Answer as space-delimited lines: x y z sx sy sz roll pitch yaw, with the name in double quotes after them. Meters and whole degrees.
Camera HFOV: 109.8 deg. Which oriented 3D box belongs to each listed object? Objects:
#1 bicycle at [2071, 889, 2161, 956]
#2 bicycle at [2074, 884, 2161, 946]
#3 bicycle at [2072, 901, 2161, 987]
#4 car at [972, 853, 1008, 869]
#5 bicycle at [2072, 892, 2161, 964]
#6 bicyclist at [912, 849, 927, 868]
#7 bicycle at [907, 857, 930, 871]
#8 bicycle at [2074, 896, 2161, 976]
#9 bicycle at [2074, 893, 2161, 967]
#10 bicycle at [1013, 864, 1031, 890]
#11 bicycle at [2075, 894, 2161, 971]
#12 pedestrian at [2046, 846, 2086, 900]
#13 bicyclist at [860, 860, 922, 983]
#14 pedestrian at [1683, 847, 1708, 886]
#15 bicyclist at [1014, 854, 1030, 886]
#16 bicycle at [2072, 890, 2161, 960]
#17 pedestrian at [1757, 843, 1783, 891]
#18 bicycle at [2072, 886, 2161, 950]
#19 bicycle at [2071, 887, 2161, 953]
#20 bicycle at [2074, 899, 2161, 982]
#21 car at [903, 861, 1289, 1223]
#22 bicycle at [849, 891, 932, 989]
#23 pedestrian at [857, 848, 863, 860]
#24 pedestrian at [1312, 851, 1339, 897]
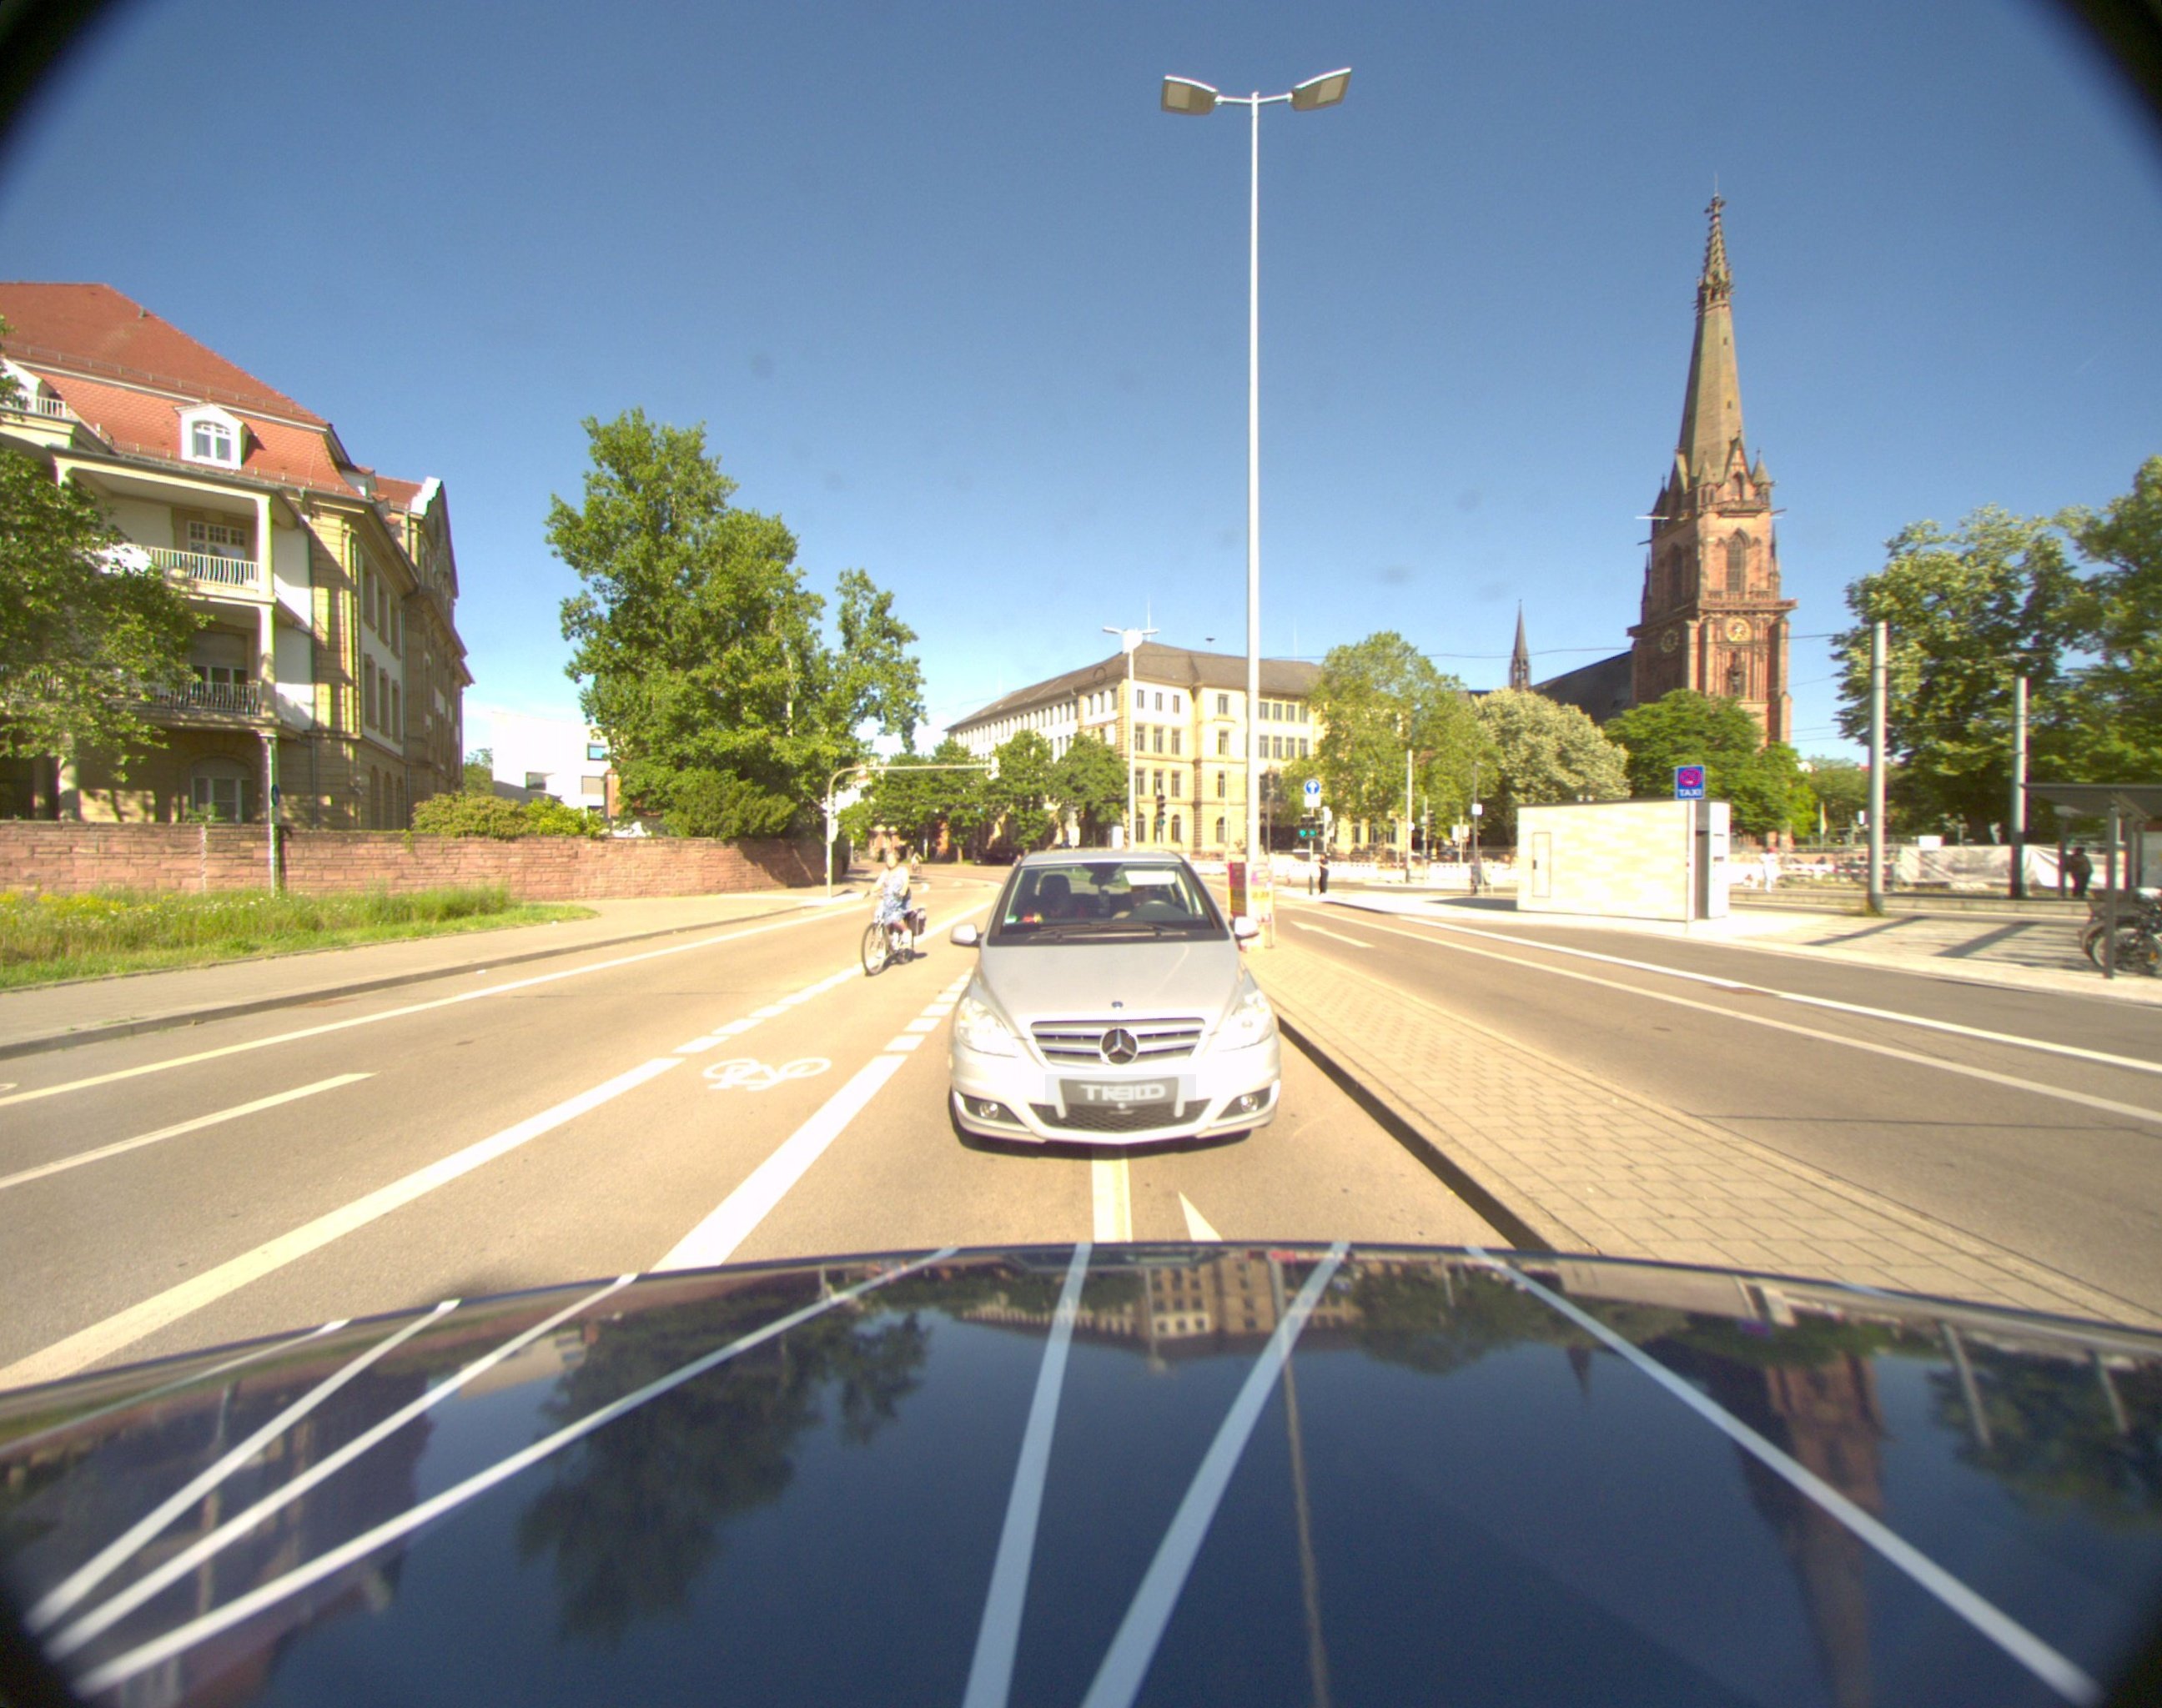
17.694 1.139 12.431 0.569 1.032 1.783 1 1 -37 "bicycle"
19.136 1.105 13.504 0.569 1.032 1.783 1 1 -37 "bicycle"
14.019 1.178 9.599 0.569 1.032 1.783 1 1 -37 "bicycle"
-10.816 0.815 90.495 1.994 1.805 3.809 1 1 44 "car"
16.677 1.159 11.644 0.569 1.032 1.783 1 1 -37 "bicycle"
-13.420 0.388 62.968 0.917 1.543 0.780 0 1 40 "bicyclist"
-13.462 0.818 63.023 1.962 1.158 0.780 -1 1 40 "bicycle"
15.147 1.162 10.447 0.569 1.032 1.783 1 1 -37 "bicycle"
16.198 1.149 11.253 0.569 1.032 1.783 1 1 -37 "bicycle"
-2.770 1.048 35.771 0.642 1.158 1.870 -1 0 1 "bicycle"
15.701 1.150 10.861 0.569 1.032 1.783 1 1 -37 "bicycle"
30.591 0.581 23.596 0.567 1.645 0.518 -2 1 1 "pedestrian"
-2.661 0.921 10.722 0.643 1.653 0.776 -1 2 1 "bicyclist"
27.313 0.557 33.769 0.540 1.712 0.680 3 -4 -34 "pedestrian"
-2.779 0.741 35.778 0.643 1.436 0.953 -1 0 1 "bicyclist"
17.169 1.150 12.019 0.569 1.032 1.783 1 1 -37 "bicycle"
25.266 0.501 27.876 0.537 1.712 0.684 -1 -4 31 "pedestrian"
18.651 1.116 13.159 0.569 1.032 1.783 1 1 -37 "bicycle"
18.167 1.127 12.796 0.569 1.032 1.783 1 1 -37 "bicycle"
14.544 1.168 9.989 0.569 1.032 1.783 1 1 -37 "bicycle"
0.120 0.903 5.847 1.770 1.584 4.638 -1 1 1 "car"
-2.658 1.160 10.806 0.642 1.158 1.968 -1 1 1 "bicycle"
-29.109 0.029 100.142 0.637 1.602 0.845 -3 1 -21 "pedestrian"
9.279 0.753 28.880 0.789 1.671 0.648 -2 1 2 "pedestrian"
